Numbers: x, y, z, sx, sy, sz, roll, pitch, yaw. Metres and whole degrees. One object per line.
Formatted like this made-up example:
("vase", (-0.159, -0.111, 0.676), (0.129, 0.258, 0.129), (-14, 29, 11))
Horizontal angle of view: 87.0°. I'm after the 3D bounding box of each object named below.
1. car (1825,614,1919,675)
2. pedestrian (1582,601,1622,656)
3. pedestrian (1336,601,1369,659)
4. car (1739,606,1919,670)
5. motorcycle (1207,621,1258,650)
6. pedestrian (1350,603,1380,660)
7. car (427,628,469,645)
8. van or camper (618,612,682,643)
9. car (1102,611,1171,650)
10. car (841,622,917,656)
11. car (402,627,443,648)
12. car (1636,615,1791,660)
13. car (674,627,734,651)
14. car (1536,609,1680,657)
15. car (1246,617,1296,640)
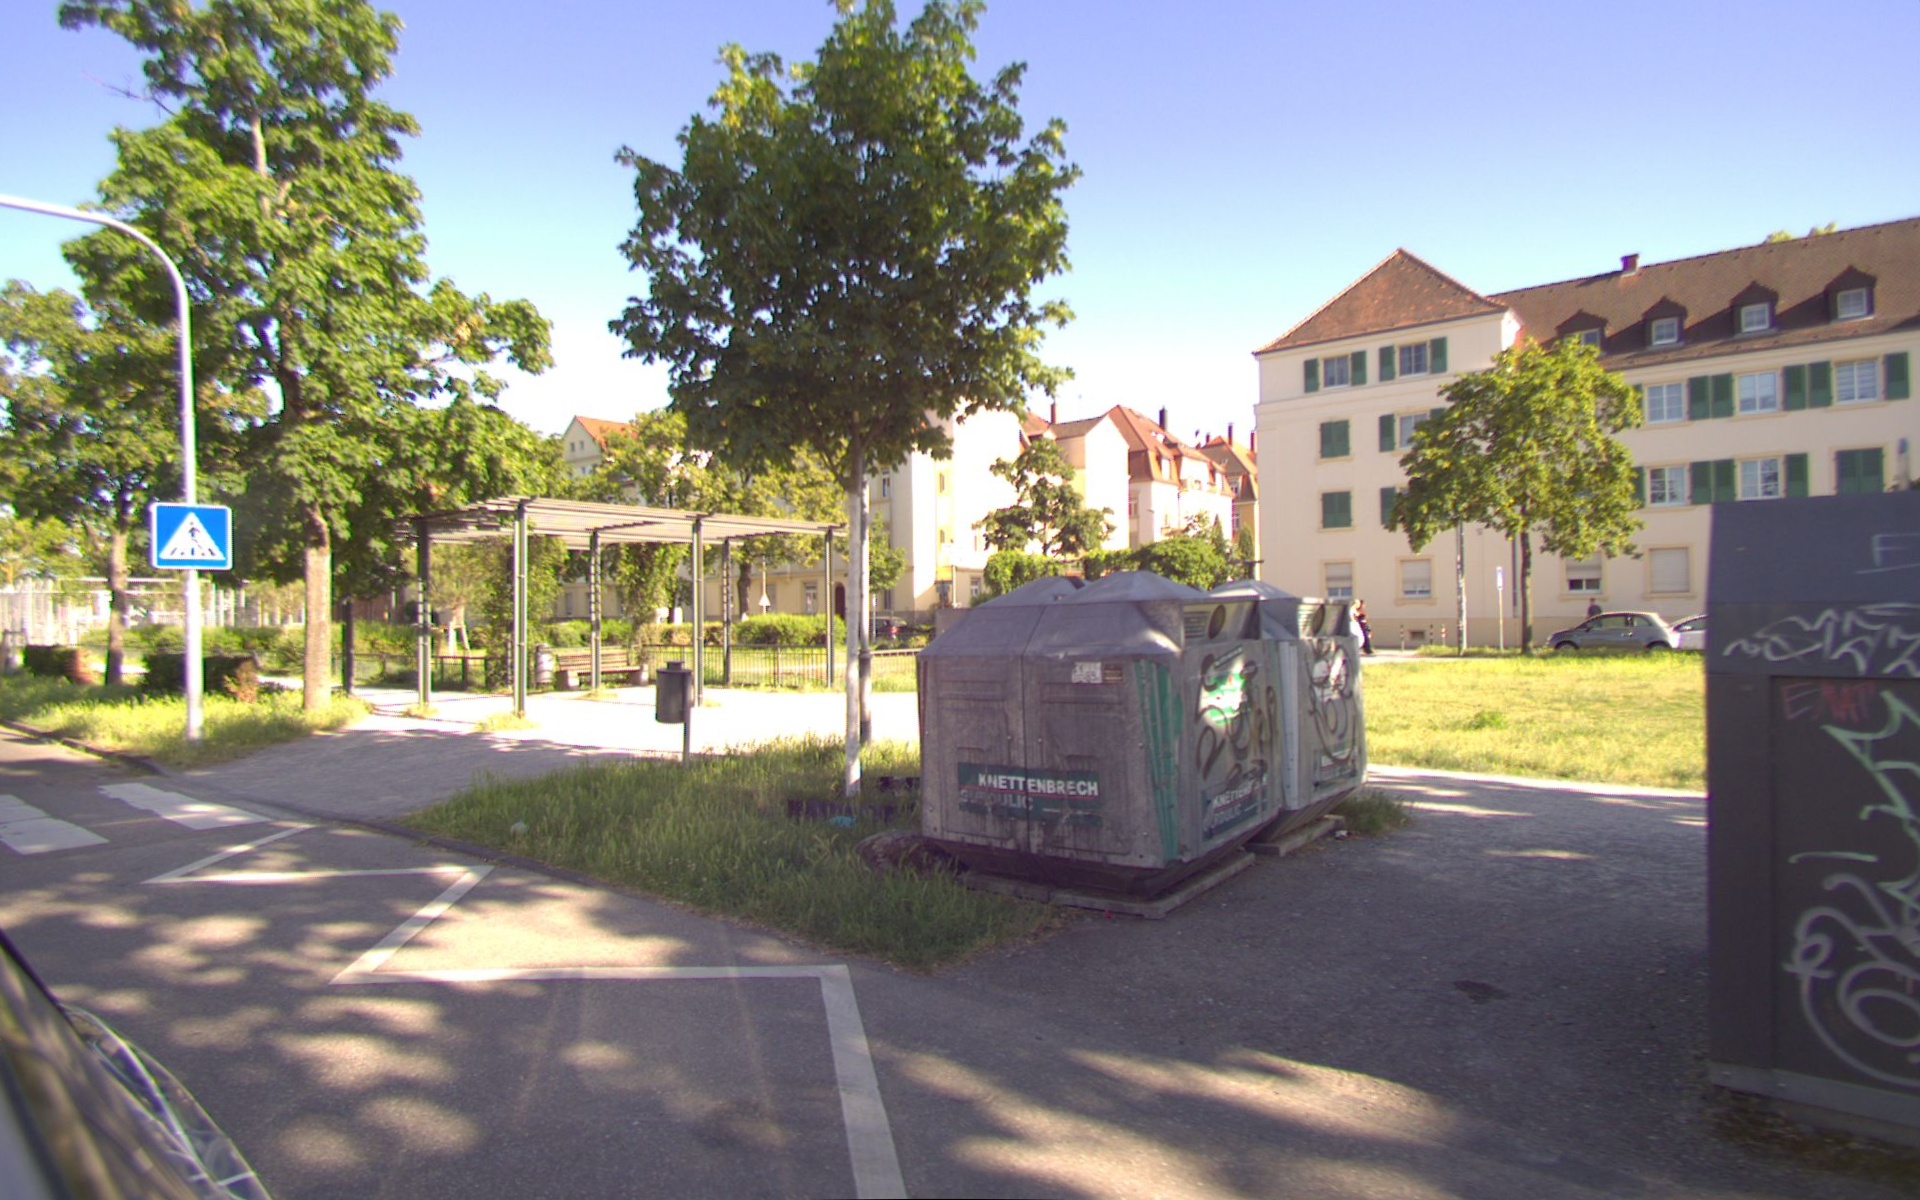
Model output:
("car", (28.974, 1.296, 30.184), (4.636, 1.777, 1.975), (-2, -2, 36))
("pedestrian", (23.549, 1.054, 37.139), (1.160, 1.978, 1.329), (-2, -2, 33))
("pedestrian", (11.678, 0.900, 30.136), (0.749, 1.698, 0.538), (-2, -2, 40))
("car", (23.688, 1.009, 27.241), (4.229, 1.595, 1.772), (-2, -1, 38))
("motorcycle", (12.620, 1.657, 46.905), (2.141, 1.315, 0.808), (-2, -1, 37))
("pedestrian", (12.271, 0.945, 30.684), (0.674, 1.698, 0.537), (-2, -2, 43))
("car", (-44.754, 3.196, 88.454), (3.996, 1.464, 1.822), (-2, -1, 40))
("van or camper", (-21.518, 1.900, 70.185), (4.369, 2.029, 2.245), (-1, -1, 39))
("car", (9.553, 1.630, 54.709), (2.041, 1.970, 3.765), (-2, -1, 40))
("car", (-4.542, 2.147, 56.569), (3.996, 1.807, 1.930), (-2, -1, 40))
("car", (-48.869, 3.403, 91.967), (3.996, 1.807, 1.930), (-2, -1, 40))
("car", (24.802, 1.232, 33.445), (3.994, 1.366, 1.752), (-2, -2, 38))
("car", (-16.797, 2.531, 66.312), (3.996, 1.464, 1.822), (-2, -1, 40))
("car", (19.469, 0.992, 30.443), (3.509, 1.343, 1.634), (-2, -2, 38))
("car", (21.892, 2.004, 71.104), (2.041, 1.530, 3.765), (-2, -1, 40))
